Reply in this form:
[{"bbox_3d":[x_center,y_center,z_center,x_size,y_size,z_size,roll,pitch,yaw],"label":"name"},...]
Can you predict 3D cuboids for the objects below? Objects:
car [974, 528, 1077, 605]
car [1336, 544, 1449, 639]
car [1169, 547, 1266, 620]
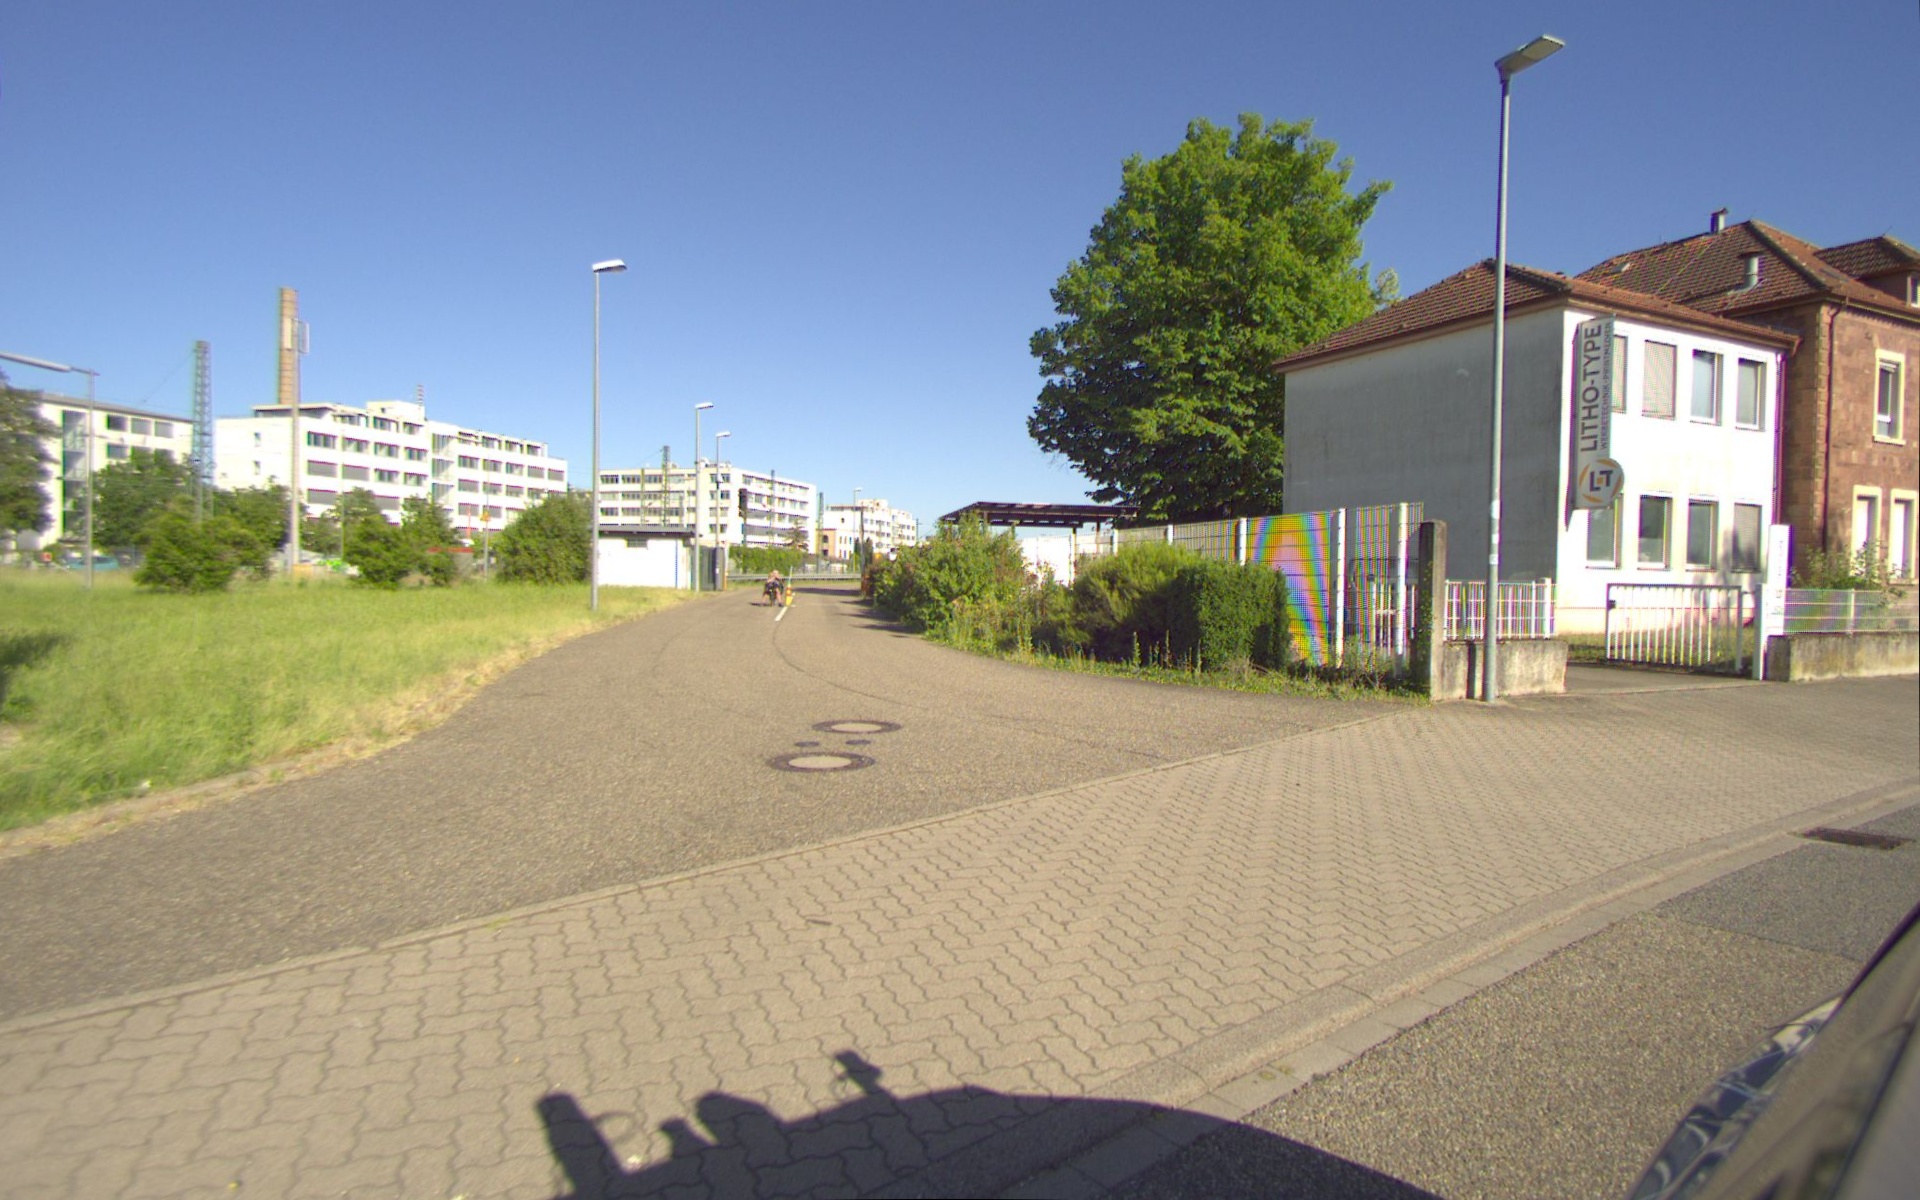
[{"bbox_3d":[2.249,-1.226,36.461,1.800,2.572,5.046,0,2,-19],"label":"car"},{"bbox_3d":[9.192,-0.256,21.724,1.977,1.799,4.335,2,2,22],"label":"car"},{"bbox_3d":[7.076,-0.490,27.479,1.977,1.799,4.335,2,2,22],"label":"car"}]
